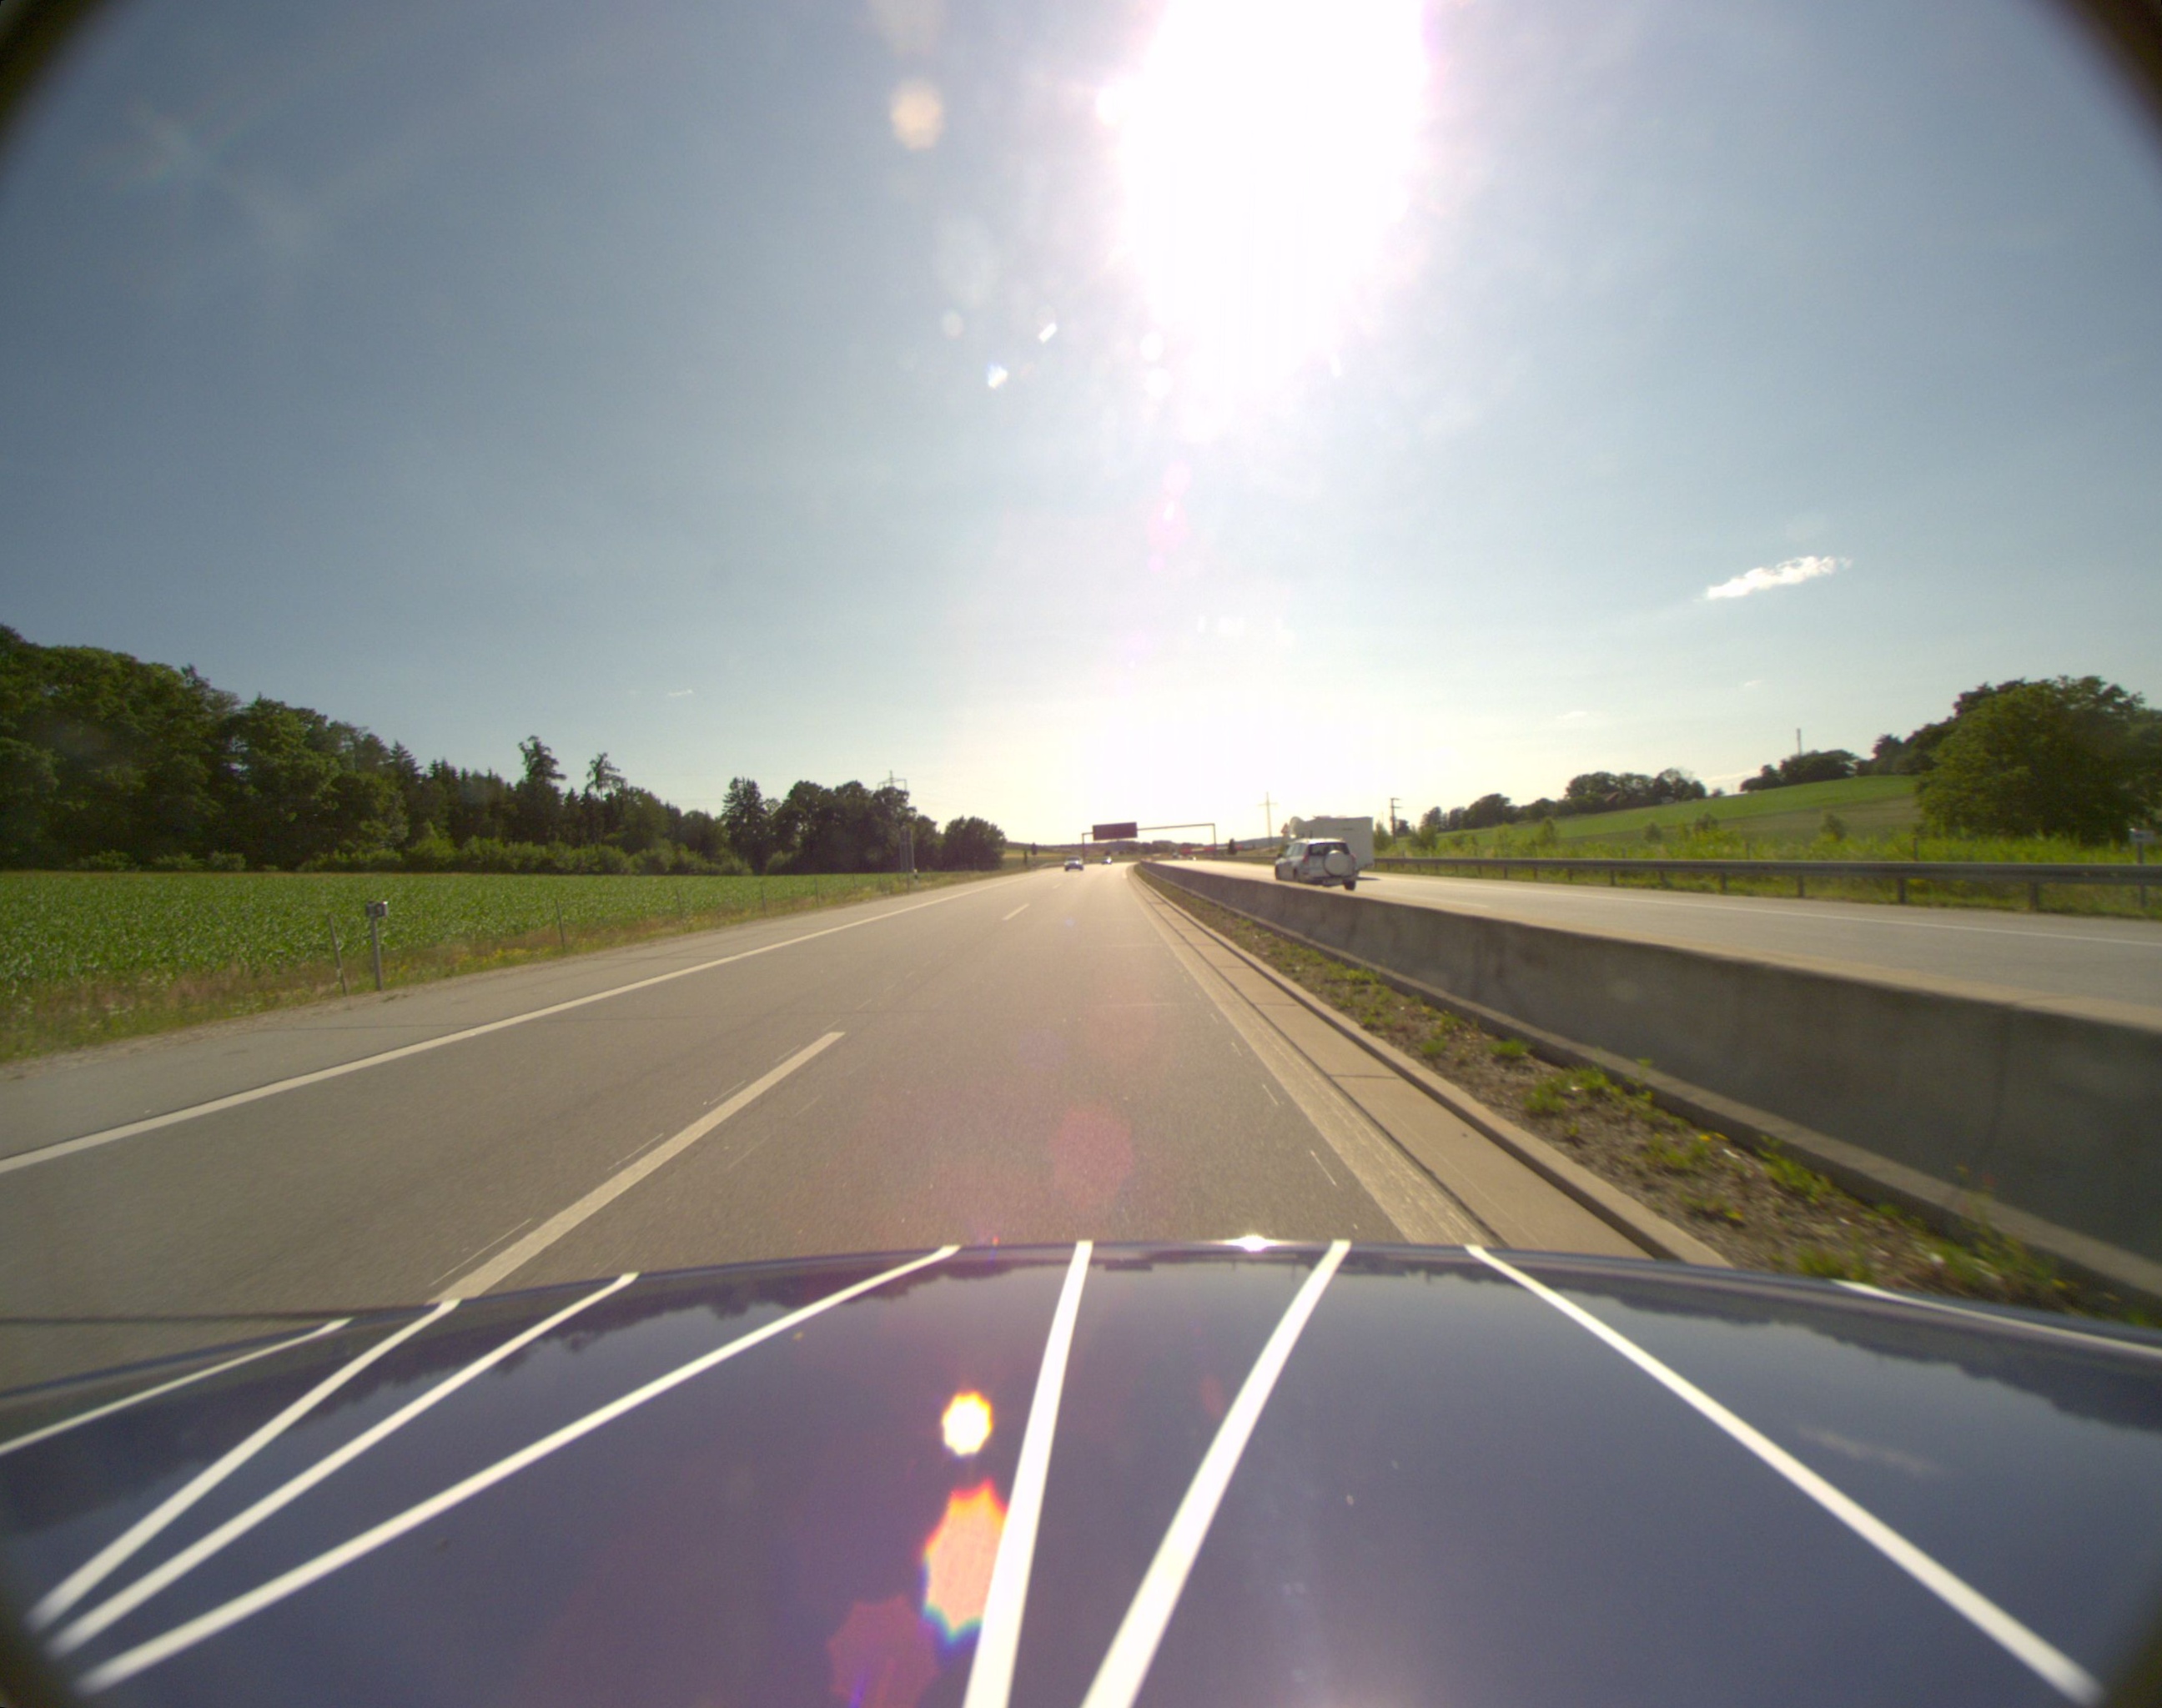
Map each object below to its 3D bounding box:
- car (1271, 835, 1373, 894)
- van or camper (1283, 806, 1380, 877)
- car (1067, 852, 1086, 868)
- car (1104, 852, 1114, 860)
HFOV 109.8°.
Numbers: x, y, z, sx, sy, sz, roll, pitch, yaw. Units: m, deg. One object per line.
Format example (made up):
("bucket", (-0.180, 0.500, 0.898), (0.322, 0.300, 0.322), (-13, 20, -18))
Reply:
("car", (7.696, 0.307, 24.696), (1.991, 1.699, 4.346), (-1, 0, 1))
("van or camper", (12.014, -0.573, 37.182), (2.597, 3.062, 7.438), (-1, 0, 3))
("car", (-0.429, 0.597, 80.910), (1.891, 1.565, 3.792), (-1, 0, 1))
("car", (5.189, 0.358, 140.673), (1.891, 1.565, 3.792), (-1, 0, 1))
